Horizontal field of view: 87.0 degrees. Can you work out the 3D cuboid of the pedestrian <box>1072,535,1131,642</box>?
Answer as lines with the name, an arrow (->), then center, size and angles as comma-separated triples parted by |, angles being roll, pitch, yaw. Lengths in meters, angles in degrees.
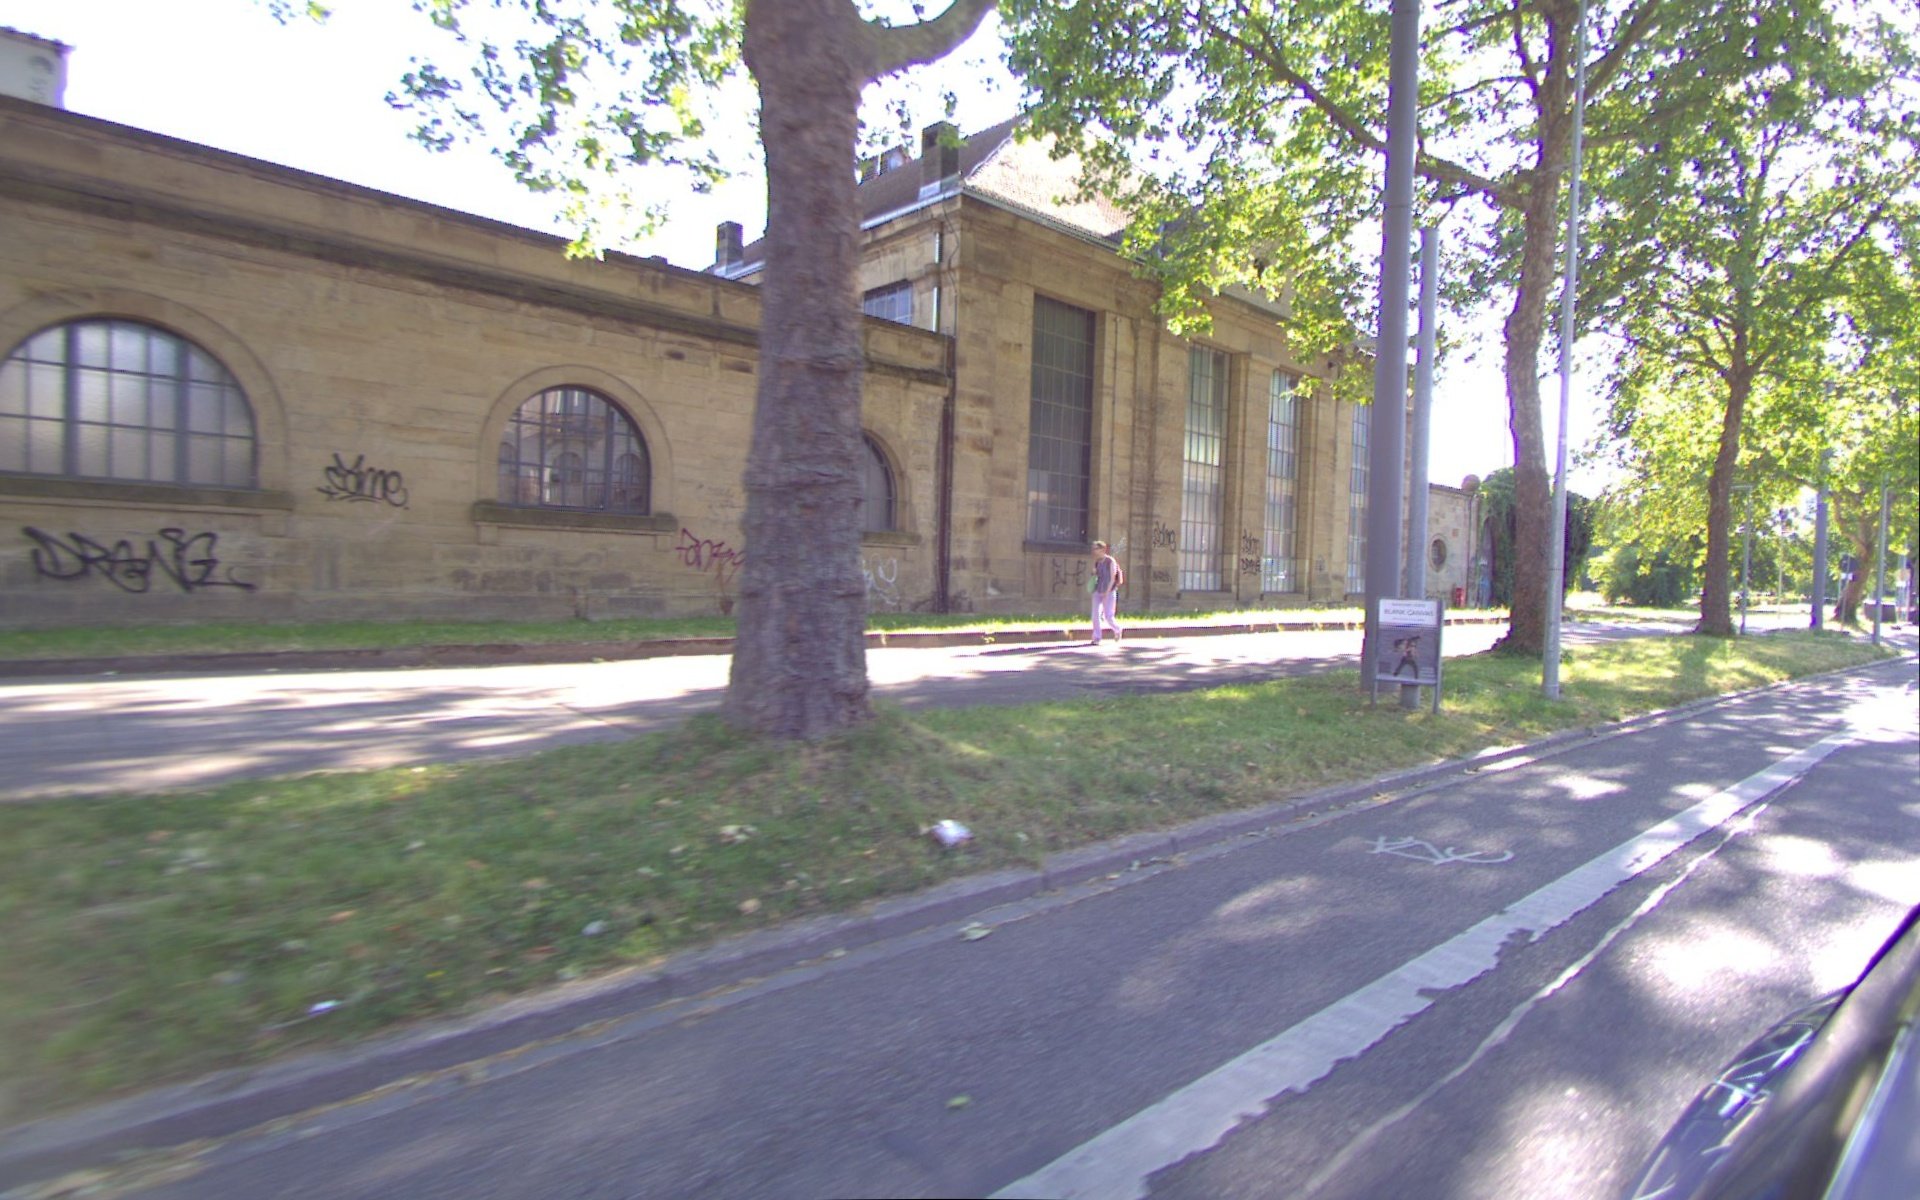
pedestrian -> 2.348, -0.203, 16.822 | 0.609, 1.701, 0.626 | 8, 5, 45

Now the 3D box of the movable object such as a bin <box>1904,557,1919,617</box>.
movable object such as a bin -> 54.604, -0.603, 55.937 | 7.096, 3.183, 2.750 | 0, 5, -43
